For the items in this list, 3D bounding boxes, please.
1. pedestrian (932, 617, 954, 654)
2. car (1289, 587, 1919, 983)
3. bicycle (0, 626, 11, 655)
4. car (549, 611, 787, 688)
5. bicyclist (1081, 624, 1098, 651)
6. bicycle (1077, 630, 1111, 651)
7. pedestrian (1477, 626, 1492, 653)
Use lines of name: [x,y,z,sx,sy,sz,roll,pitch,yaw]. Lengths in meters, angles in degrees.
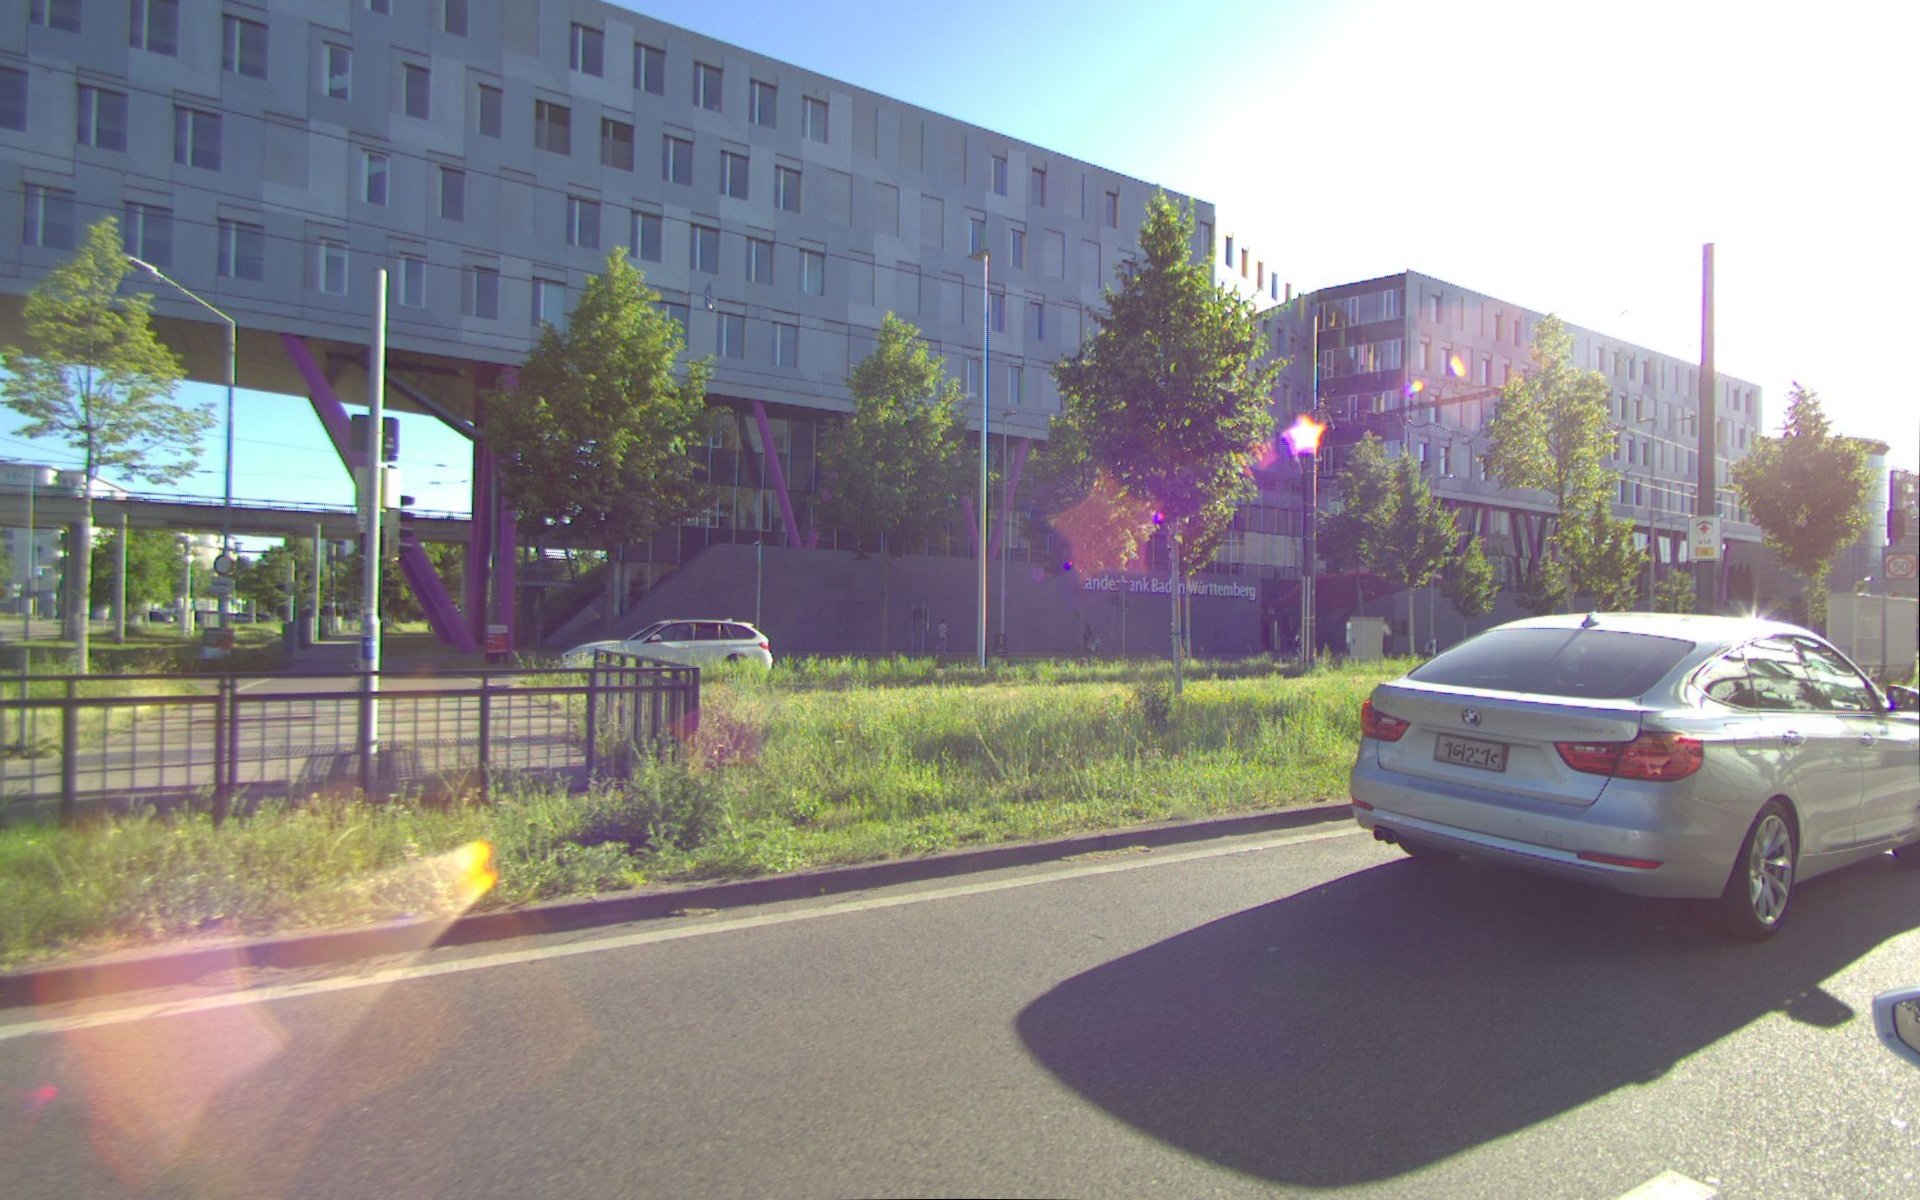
pedestrian: [-0.837,1.785,50.465,0.861,1.846,0.717,1,-1,-31]
car: [4.327,0.781,6.056,4.858,1.547,1.788,2,0,-33]
bicycle: [-30.131,1.221,30.598,1.672,0.874,0.573,1,-1,-30]
car: [-6.532,1.069,22.680,4.818,1.583,1.982,1,-1,-33]
bicyclist: [7.253,2.084,56.060,0.754,1.515,0.555,1,-1,-31]
bicycle: [7.438,2.247,55.735,1.953,1.188,0.517,1,-1,-31]
pedestrian: [40.232,3.006,77.064,0.681,2.040,0.732,2,-1,-30]
